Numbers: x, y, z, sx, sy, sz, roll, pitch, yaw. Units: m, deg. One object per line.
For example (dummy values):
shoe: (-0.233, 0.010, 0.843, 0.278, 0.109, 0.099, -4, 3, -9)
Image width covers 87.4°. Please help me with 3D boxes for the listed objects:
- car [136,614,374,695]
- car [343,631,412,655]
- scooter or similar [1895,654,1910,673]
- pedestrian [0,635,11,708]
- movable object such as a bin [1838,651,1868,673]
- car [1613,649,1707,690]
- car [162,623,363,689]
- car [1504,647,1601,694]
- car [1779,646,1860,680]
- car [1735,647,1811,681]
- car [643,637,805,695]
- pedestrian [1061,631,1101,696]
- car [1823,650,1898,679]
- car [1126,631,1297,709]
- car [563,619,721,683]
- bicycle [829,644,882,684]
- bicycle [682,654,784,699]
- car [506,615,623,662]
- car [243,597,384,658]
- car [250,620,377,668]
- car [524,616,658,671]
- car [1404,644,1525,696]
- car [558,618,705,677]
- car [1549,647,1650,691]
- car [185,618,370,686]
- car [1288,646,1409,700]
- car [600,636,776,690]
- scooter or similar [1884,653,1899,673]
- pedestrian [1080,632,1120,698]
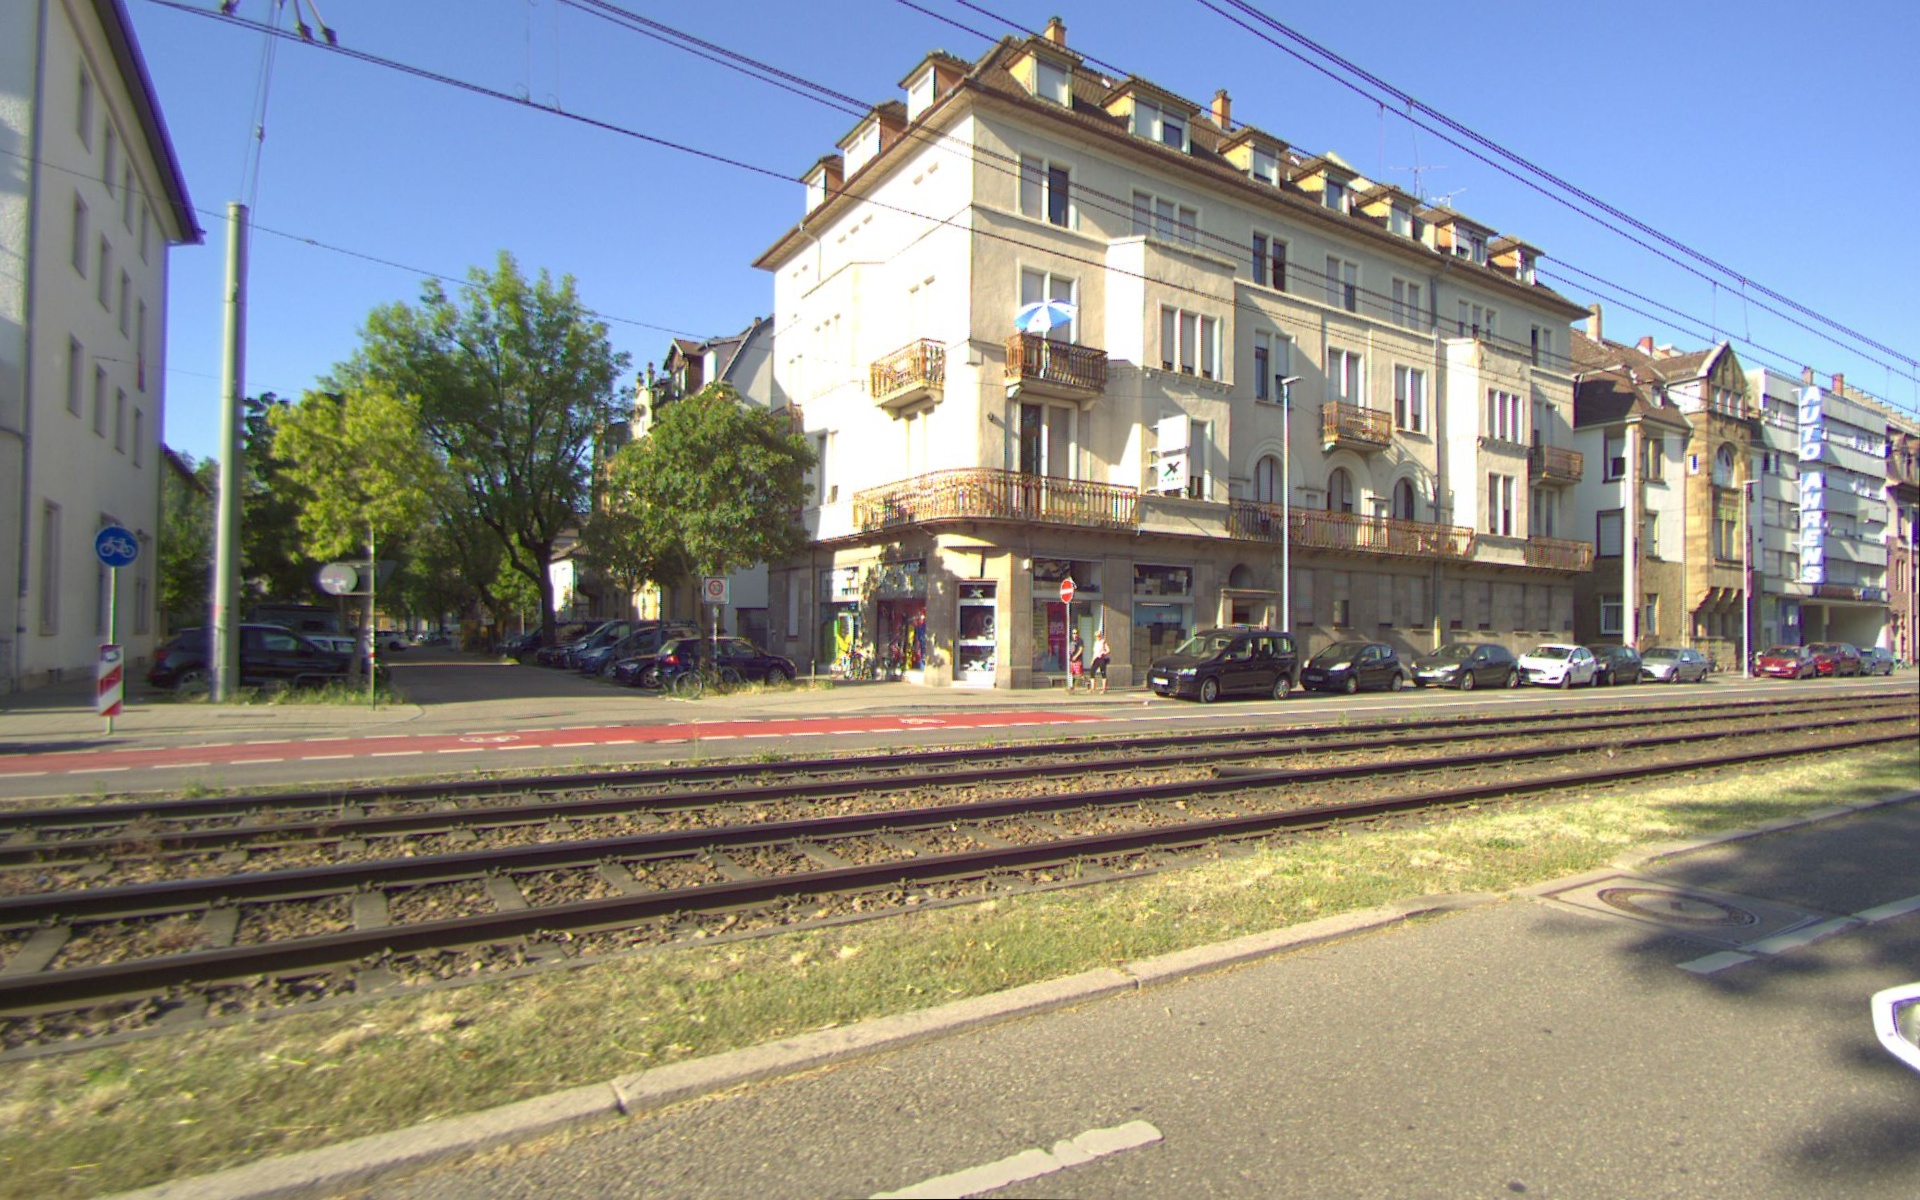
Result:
car: (-15.843, 1.280, 22.860, 4.217, 1.662, 1.784, 4, -4, -33)
car: (-40.630, 2.991, 70.117, 3.962, 1.530, 1.782, 4, -4, -36)
scooter or similar: (60.689, 4.103, 64.696, 1.187, 1.221, 0.389, 2, 0, -32)
pedestrian: (-16.901, 1.206, 17.173, 0.888, 1.203, 0.869, 3, -1, -40)
movable object such as a bin: (58.345, 4.037, 65.611, 0.630, 1.389, 1.400, 2, -2, -38)
car: (28.045, 2.736, 40.224, 4.113, 1.488, 1.626, 2, -1, -32)
car: (-17.404, 1.432, 25.289, 3.958, 1.530, 1.784, 4, -4, -33)
car: (20.520, 2.401, 34.737, 3.950, 1.488, 1.622, 3, -2, -39)
car: (42.427, 3.102, 49.546, 4.304, 1.578, 1.824, 3, -1, -32)
car: (37.754, 2.948, 46.640, 3.999, 1.409, 1.820, 2, 1, -37)
car: (-6.805, 1.911, 29.123, 4.203, 1.483, 1.761, 3, -1, -35)
pedestrian: (3.316, 1.740, 27.577, 0.848, 1.719, 0.586, 3, -1, -31)
car: (47.017, 3.346, 52.411, 4.632, 1.409, 1.823, 2, -2, -33)
car: (6.563, 1.744, 26.096, 4.355, 1.810, 1.851, 1, 0, -34)
car: (-11.077, 1.810, 35.116, 4.848, 2.067, 2.045, 4, -4, -35)
bicycle: (-3.261, 1.954, 30.995, 0.742, 1.176, 2.873, 2, -3, -25)
bicycle: (-5.657, 1.896, 25.136, 2.384, 1.029, 0.680, 2, 0, -30)
car: (-19.051, 1.904, 48.491, 4.848, 2.067, 2.045, 4, -4, -35)
car: (-31.441, 1.395, 48.925, 5.545, 2.719, 2.256, 4, -4, -36)
car: (-24.828, 1.730, 38.714, 3.958, 1.679, 1.784, 4, -4, -33)
car: (-15.390, 1.847, 41.965, 4.848, 2.067, 2.045, 4, -4, -35)
car: (16.420, 2.246, 32.628, 4.115, 1.488, 1.625, 2, 1, -33)
car: (-12.393, 1.832, 38.044, 4.848, 2.067, 2.045, 4, -4, -35)
car: (23.842, 2.546, 37.409, 4.115, 1.488, 1.625, 2, 0, -33)
car: (-18.399, 1.446, 27.290, 3.958, 1.679, 1.784, 4, -4, -33)
car: (11.518, 2.116, 29.753, 3.472, 1.410, 1.617, 2, 1, -34)
car: (-8.405, 1.979, 31.197, 4.845, 1.530, 2.047, 4, -4, -33)
scooter or similar: (60.458, 4.086, 65.214, 1.187, 1.221, 0.389, 2, 0, -32)
pedestrian: (3.755, 1.748, 26.941, 0.848, 1.719, 0.586, 3, -1, -31)
